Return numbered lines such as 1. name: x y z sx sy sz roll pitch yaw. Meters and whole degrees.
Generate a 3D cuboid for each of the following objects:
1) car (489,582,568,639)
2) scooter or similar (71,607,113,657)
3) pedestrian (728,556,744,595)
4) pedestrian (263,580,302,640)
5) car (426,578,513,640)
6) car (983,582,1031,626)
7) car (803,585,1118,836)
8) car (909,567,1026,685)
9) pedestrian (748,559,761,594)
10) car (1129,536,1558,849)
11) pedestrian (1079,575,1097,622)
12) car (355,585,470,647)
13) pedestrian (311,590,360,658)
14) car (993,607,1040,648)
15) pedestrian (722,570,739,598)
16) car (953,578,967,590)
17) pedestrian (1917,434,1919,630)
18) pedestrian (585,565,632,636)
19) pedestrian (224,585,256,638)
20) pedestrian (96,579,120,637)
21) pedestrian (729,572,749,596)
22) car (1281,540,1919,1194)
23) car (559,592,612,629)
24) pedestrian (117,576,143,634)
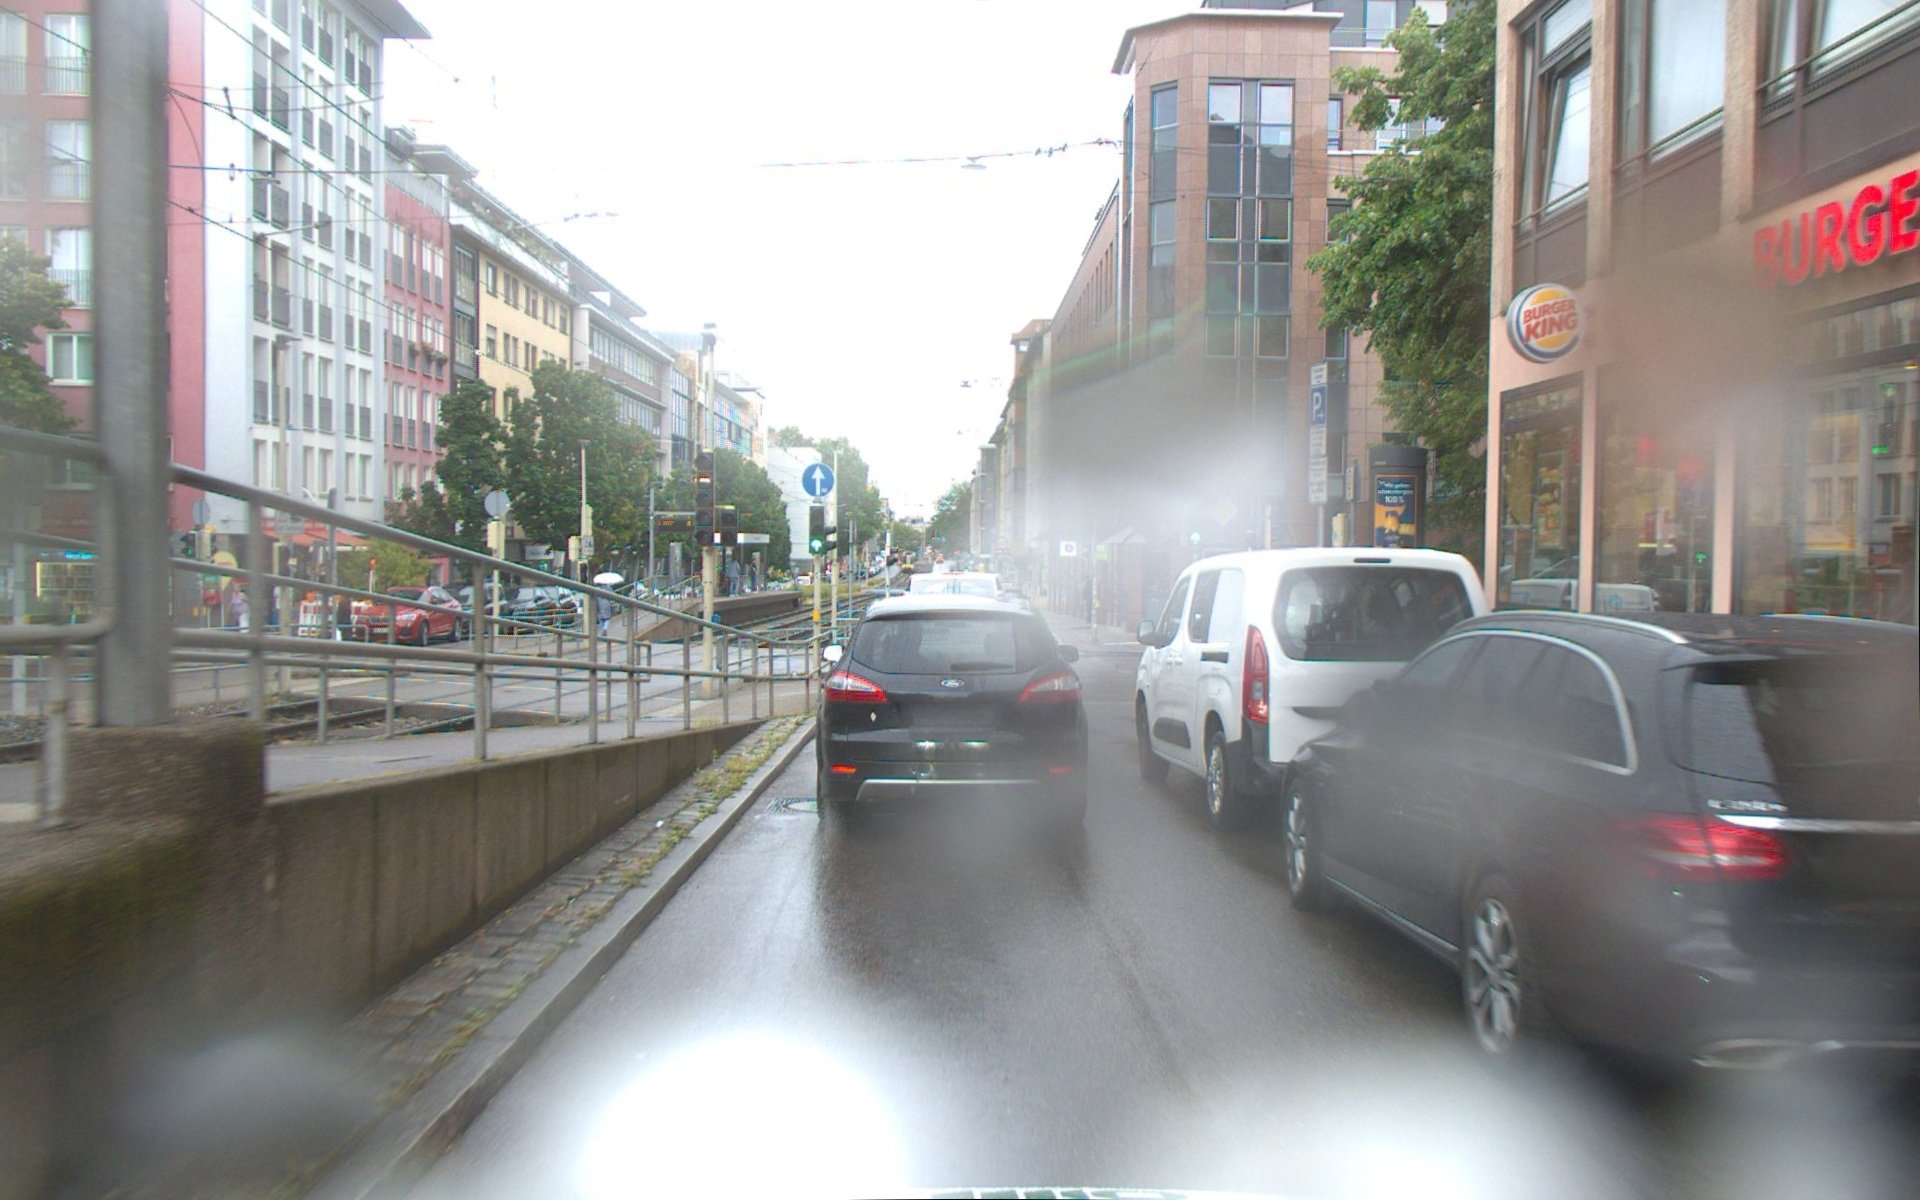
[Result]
1. car: -14.962 0.332 57.544 1.766 1.890 4.378 0 1 -3
2. scooter or similar: -21.689 0.789 41.343 0.381 1.212 1.212 -1 0 1
3. pedestrian: -10.157 -1.123 74.931 0.642 1.741 0.849 0 0 -3
4. pedestrian: -19.839 0.298 48.443 0.804 1.727 0.984 1 0 -9
5. car: -15.632 0.261 52.922 1.673 1.890 4.318 0 1 -3
6. car: 1.724 0.146 61.167 1.664 1.505 3.867 -2 0 1
7. car: -0.001 0.656 11.557 1.867 1.488 3.444 0 0 0
8. car: 0.119 0.417 28.844 1.867 1.897 4.573 0 0 0
9. pedestrian: -10.983 -1.267 88.368 0.642 1.833 0.849 0 0 -3
10. car: 2.512 0.540 12.138 1.868 1.838 4.775 0 0 -2
11. pedestrian: 4.614 -0.053 59.707 0.589 1.688 0.625 -1 0 -1
12. car: -15.567 0.420 47.259 1.690 1.640 4.553 0 1 1
13. pedestrian: -15.840 0.608 41.965 0.864 1.660 0.805 2 3 33
14. car: 2.207 1.049 65.377 1.664 1.487 3.867 -2 0 0
15. pedestrian: -10.658 -0.751 76.892 0.679 1.271 0.884 0 0 -3
16. car: 0.033 -2.270 232.059 1.867 1.662 4.574 0 0 0
17. pedestrian: 3.951 0.362 5.989 0.638 1.982 0.533 -1 0 0
18. pedestrian: -10.314 0.003 48.603 1.093 2.049 1.383 -1 0 -1
19. pedestrian: -20.607 0.317 47.341 0.626 1.487 0.656 1 0 -3
20. pedestrian: -24.338 0.227 47.246 0.571 1.660 0.606 1 0 -27
21. pedestrian: -10.617 -0.775 79.404 0.876 1.143 0.848 0 0 -11
22. car: 2.606 0.669 6.381 1.867 1.644 4.413 0 0 0
23. car: -15.436 0.406 68.317 1.537 1.461 3.976 0 1 -4
24. pedestrian: -23.719 0.144 47.258 0.539 1.660 0.567 1 0 -37
